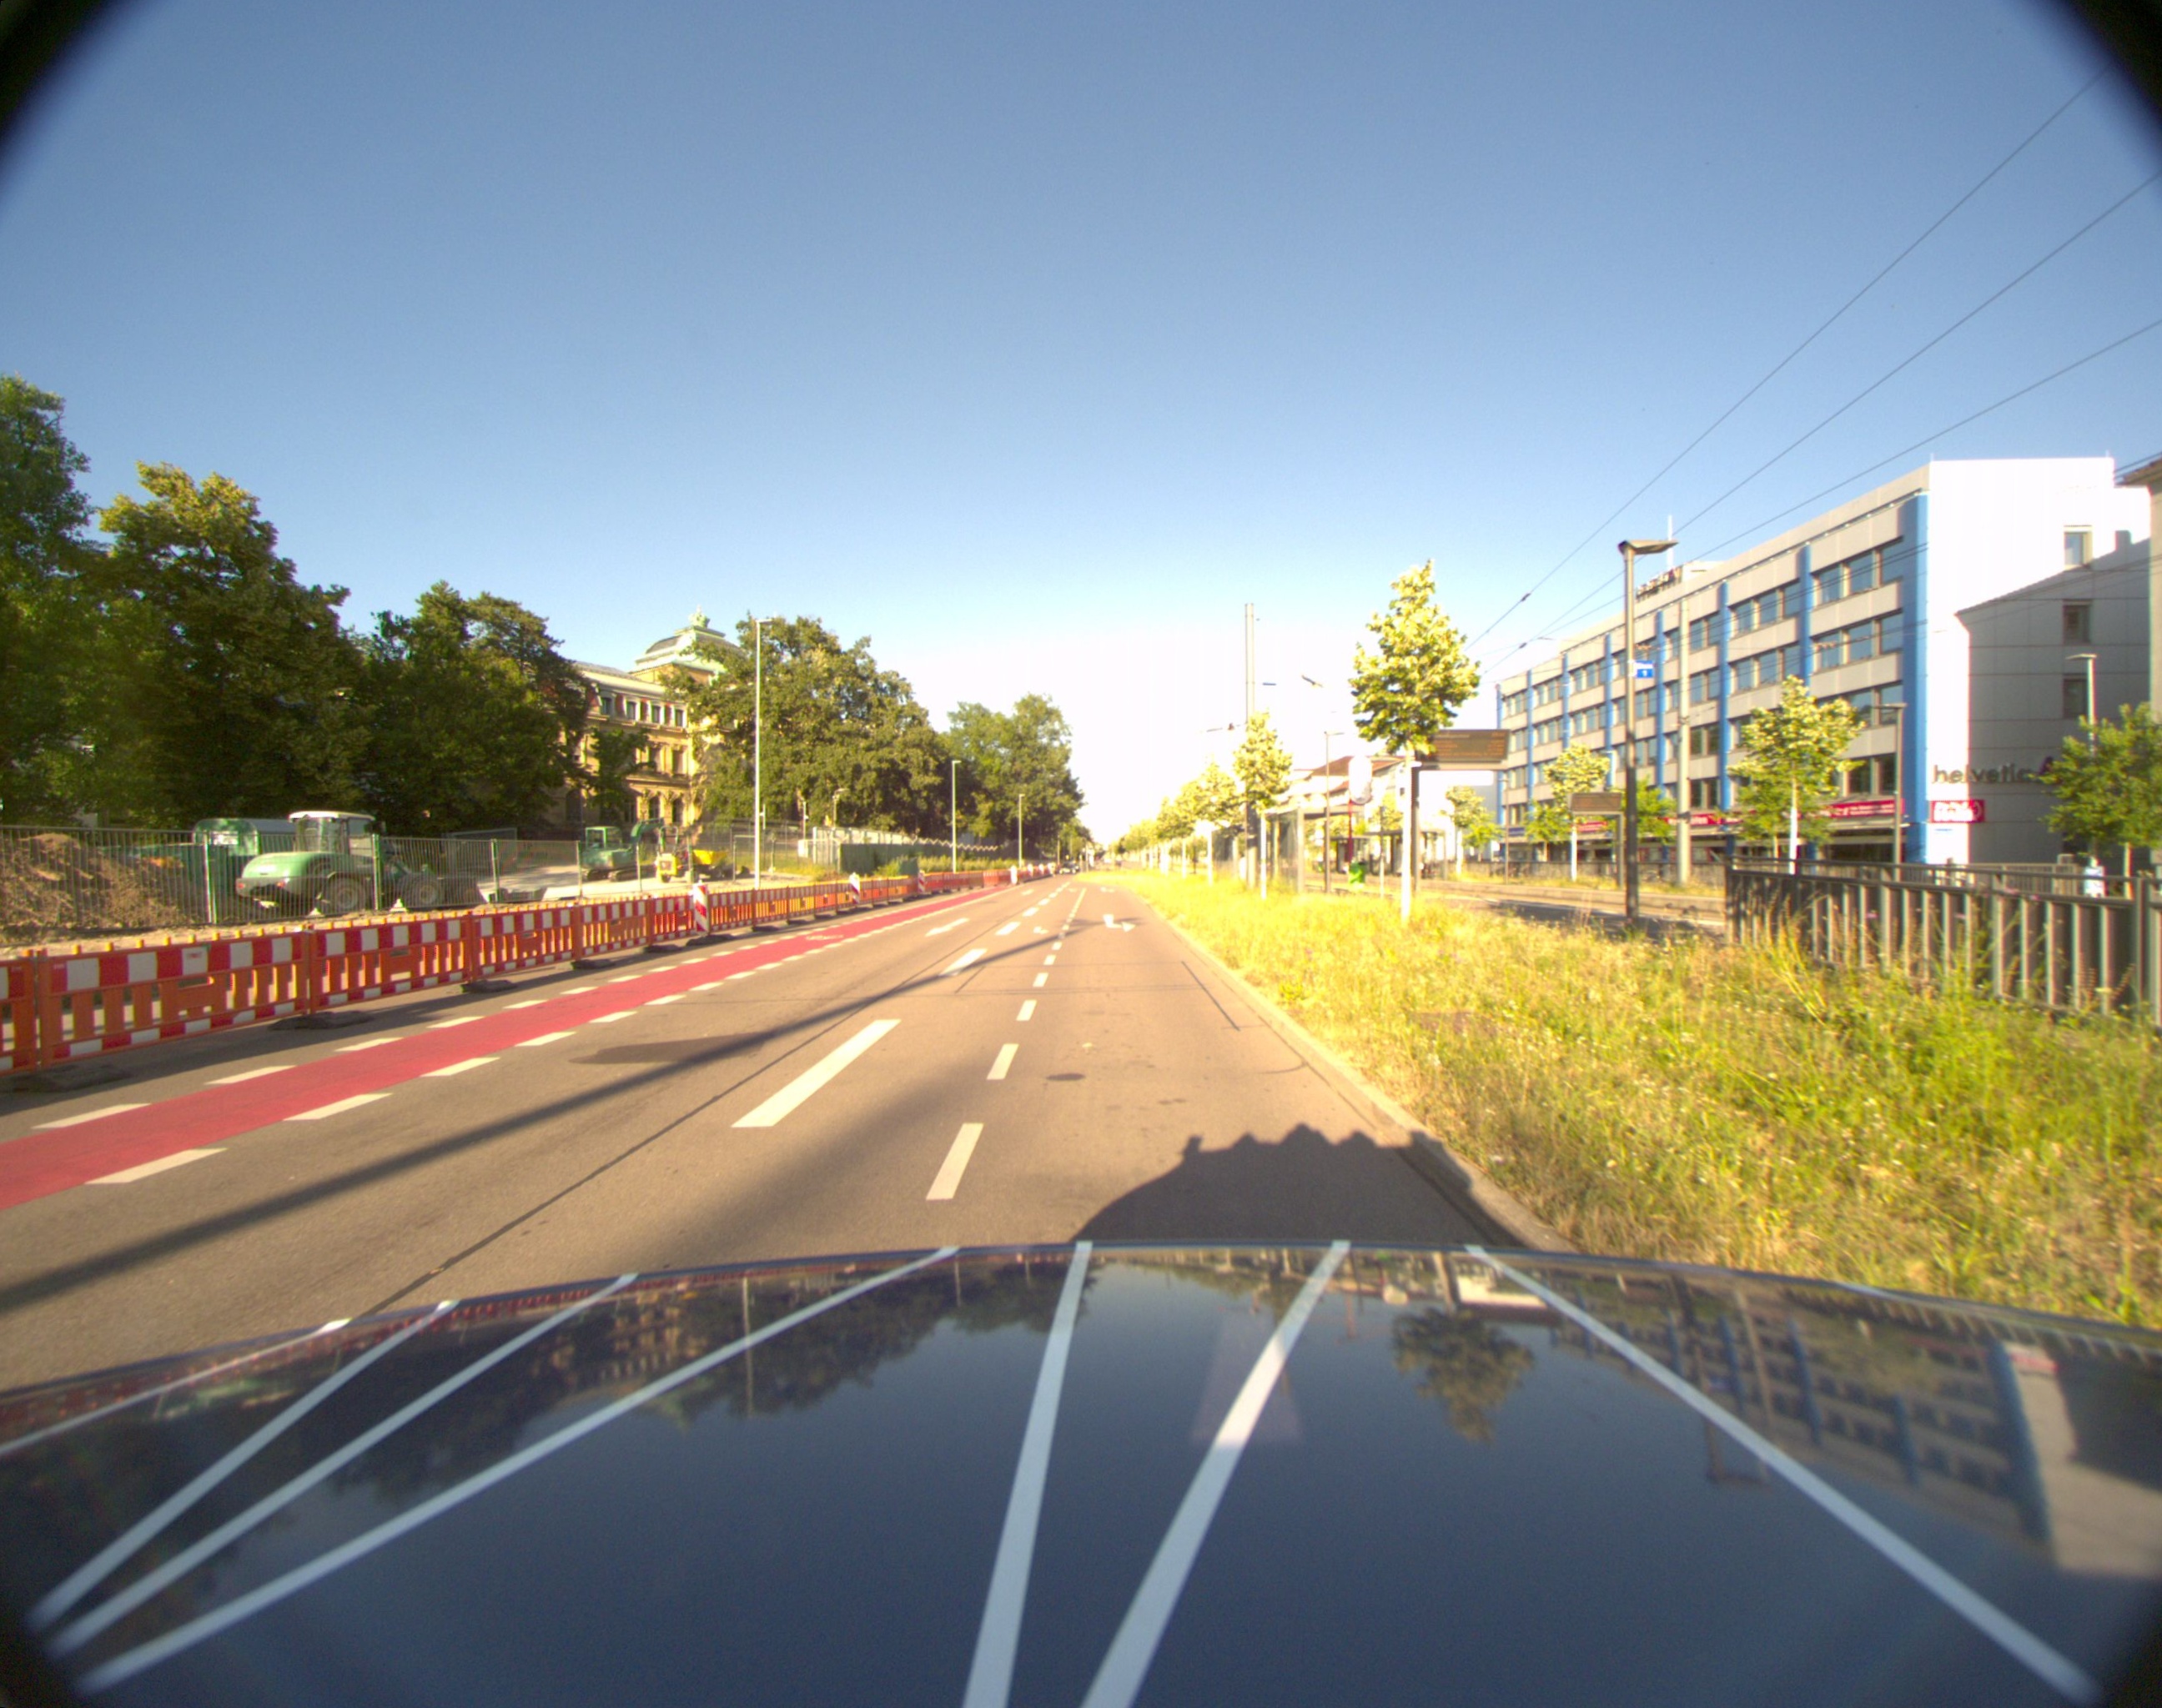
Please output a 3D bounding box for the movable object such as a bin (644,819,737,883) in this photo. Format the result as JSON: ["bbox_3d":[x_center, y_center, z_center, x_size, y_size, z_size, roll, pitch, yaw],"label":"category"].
[{"bbox_3d":[-18.769,-0.129,36.709,1.997,2.887,4.003,0,0,8],"label":"movable object such as a bin"}]

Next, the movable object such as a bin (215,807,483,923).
[{"bbox_3d":[-19.056,0.267,20.225,2.281,2.688,4.942,0,0,1],"label":"movable object such as a bin"}]

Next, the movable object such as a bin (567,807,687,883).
[{"bbox_3d":[-22.524,-0.399,38.023,2.280,3.536,5.501,0,0,6],"label":"movable object such as a bin"}]

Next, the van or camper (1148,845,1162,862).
[{"bbox_3d":[14.165,-0.059,145.715,2.510,3.149,7.478,-1,0,4],"label":"van or camper"}]

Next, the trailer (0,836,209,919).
[{"bbox_3d":[-30.829,0.673,23.374,5.044,2.311,2.222,0,5,-2],"label":"trailer"}]

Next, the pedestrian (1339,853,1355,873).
[{"bbox_3d":[18.787,0.638,53.689,0.840,1.402,0.804,0,0,1],"label":"pedestrian"}]

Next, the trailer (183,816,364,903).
[{"bbox_3d":[-31.554,0.113,29.930,2.616,3.075,3.981,0,5,-2],"label":"trailer"}]

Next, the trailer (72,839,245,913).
[{"bbox_3d":[-31.690,0.722,26.222,2.954,2.311,2.222,0,5,-2],"label":"trailer"}]

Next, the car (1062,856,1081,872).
[{"bbox_3d":[-1.115,1.150,90.433,2.080,1.827,4.001,0,0,2],"label":"car"}]

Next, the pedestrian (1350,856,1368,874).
[{"bbox_3d":[18.696,0.709,51.119,0.936,1.190,0.764,0,0,1],"label":"pedestrian"}]
